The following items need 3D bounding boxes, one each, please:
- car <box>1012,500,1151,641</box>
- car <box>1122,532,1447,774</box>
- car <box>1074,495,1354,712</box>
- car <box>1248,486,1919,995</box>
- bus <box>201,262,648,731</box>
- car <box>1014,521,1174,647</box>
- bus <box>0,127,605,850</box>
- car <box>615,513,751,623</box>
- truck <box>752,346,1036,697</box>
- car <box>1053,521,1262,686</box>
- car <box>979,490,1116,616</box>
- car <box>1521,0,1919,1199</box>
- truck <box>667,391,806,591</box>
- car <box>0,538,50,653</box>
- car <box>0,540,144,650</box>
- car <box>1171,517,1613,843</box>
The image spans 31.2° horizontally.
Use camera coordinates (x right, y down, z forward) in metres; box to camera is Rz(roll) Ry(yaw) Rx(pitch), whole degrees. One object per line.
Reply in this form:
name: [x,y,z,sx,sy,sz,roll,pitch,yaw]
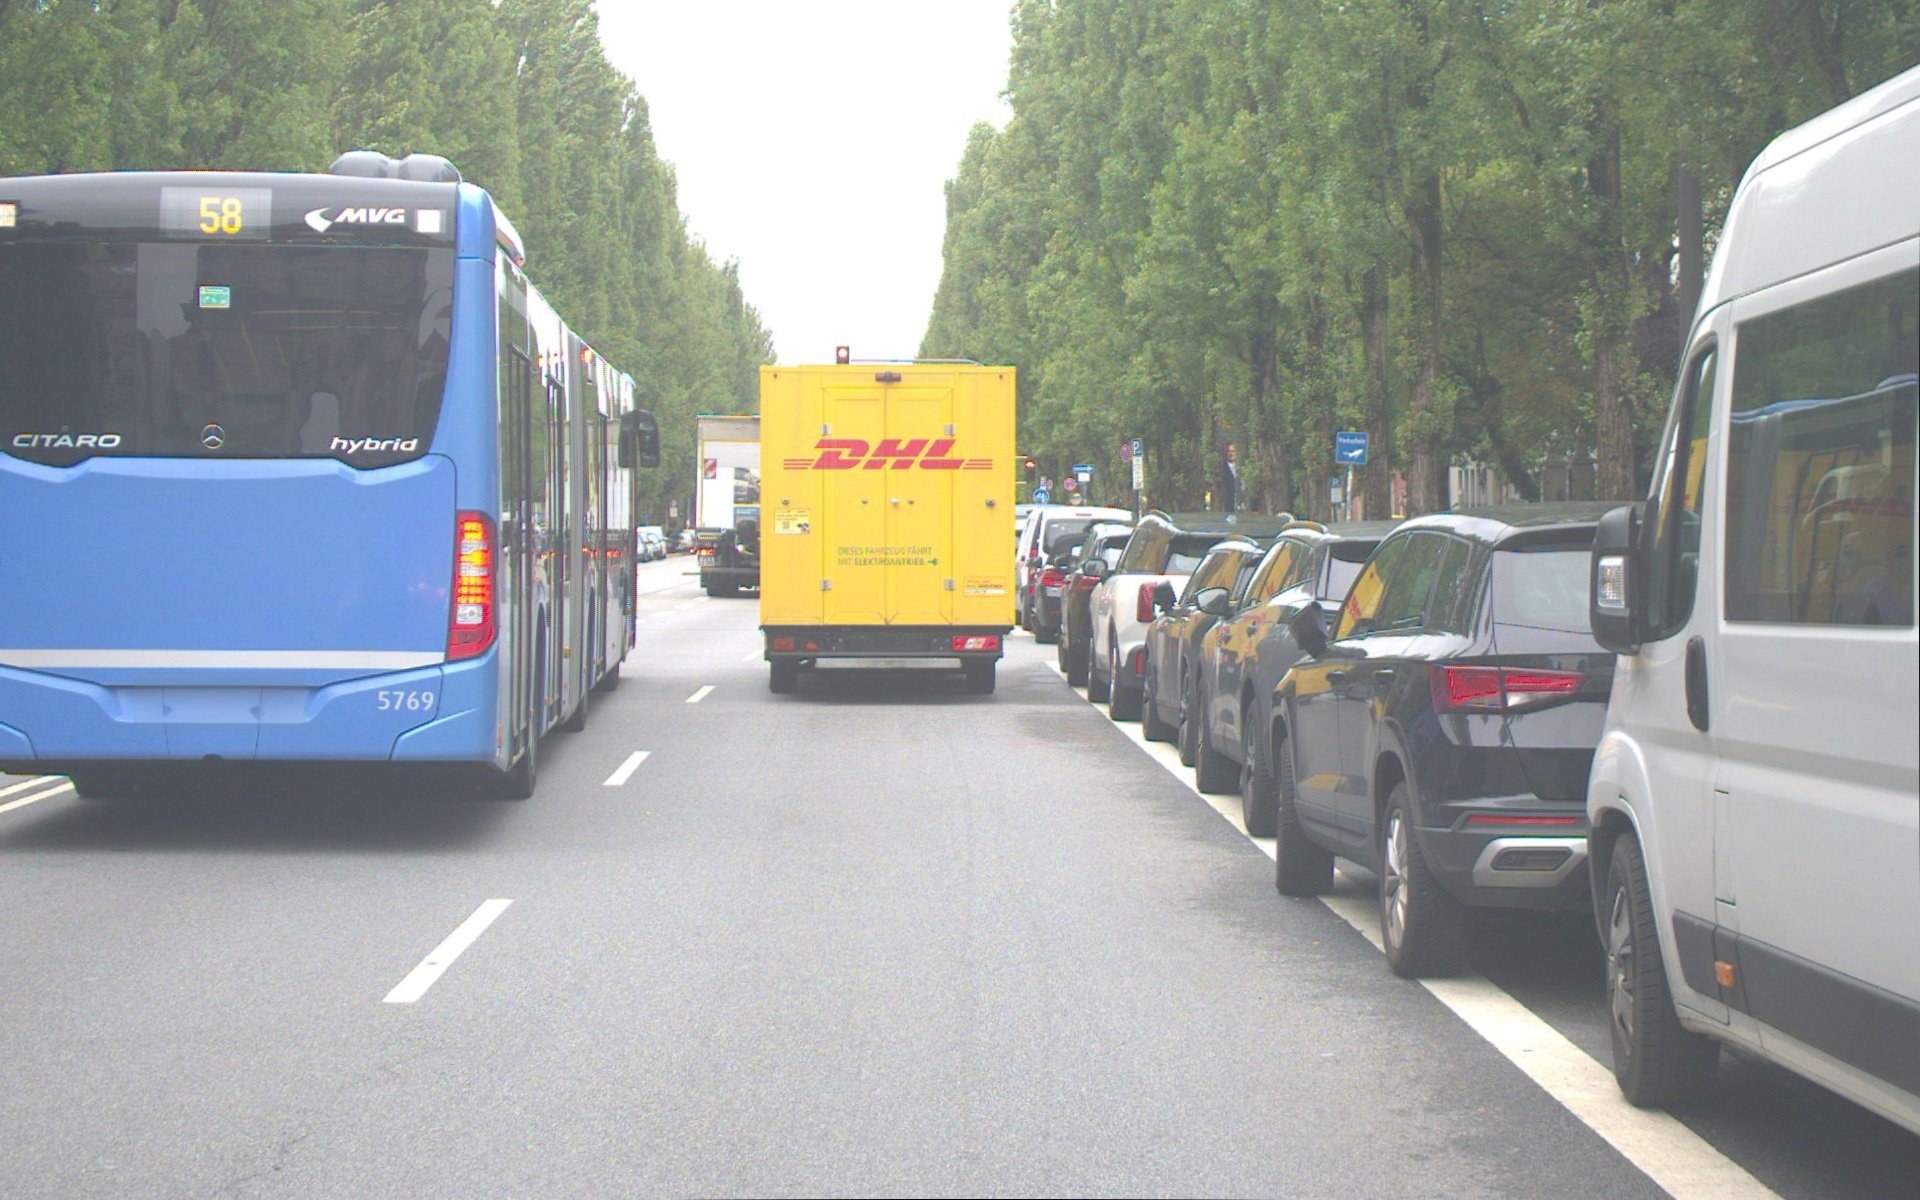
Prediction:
car: [1.728,-0.459,49.986,1.806,1.969,4.237,0,1,-1]
car: [2.094,0.286,23.228,1.633,1.441,4.149,2,1,-2]
car: [1.970,-0.019,27.783,1.780,1.576,4.147,1,1,-2]
car: [2.231,0.396,12.822,1.820,1.585,4.224,0,1,-2]
bus: [-4.212,-0.843,29.113,2.871,3.292,9.791,0,1,-4]
car: [1.684,-0.241,44.473,1.863,1.546,4.000,0,1,-1]
bus: [-3.679,-0.605,19.811,2.855,3.202,9.061,0,1,-3]
car: [-4.737,-0.588,59.349,2.035,1.795,4.507,-1,2,-1]
truck: [-0.668,-0.732,32.138,2.327,2.888,7.334,0,1,-2]
car: [1.854,-0.015,33.355,1.725,1.490,4.324,0,1,-1]
car: [1.431,-0.834,58.224,2.052,2.006,5.693,-1,2,-1]
car: [2.732,0.098,6.616,2.074,2.470,6.284,0,1,-2]
truck: [-4.734,-2.279,73.210,2.715,3.951,9.220,-1,1,-3]
car: [-13.731,-0.064,47.275,1.742,1.513,4.119,-2,1,-7]
car: [-13.901,-0.096,52.762,1.791,1.542,4.339,-3,1,-2]
car: [2.135,0.329,18.031,1.651,1.498,4.114,1,1,-2]
